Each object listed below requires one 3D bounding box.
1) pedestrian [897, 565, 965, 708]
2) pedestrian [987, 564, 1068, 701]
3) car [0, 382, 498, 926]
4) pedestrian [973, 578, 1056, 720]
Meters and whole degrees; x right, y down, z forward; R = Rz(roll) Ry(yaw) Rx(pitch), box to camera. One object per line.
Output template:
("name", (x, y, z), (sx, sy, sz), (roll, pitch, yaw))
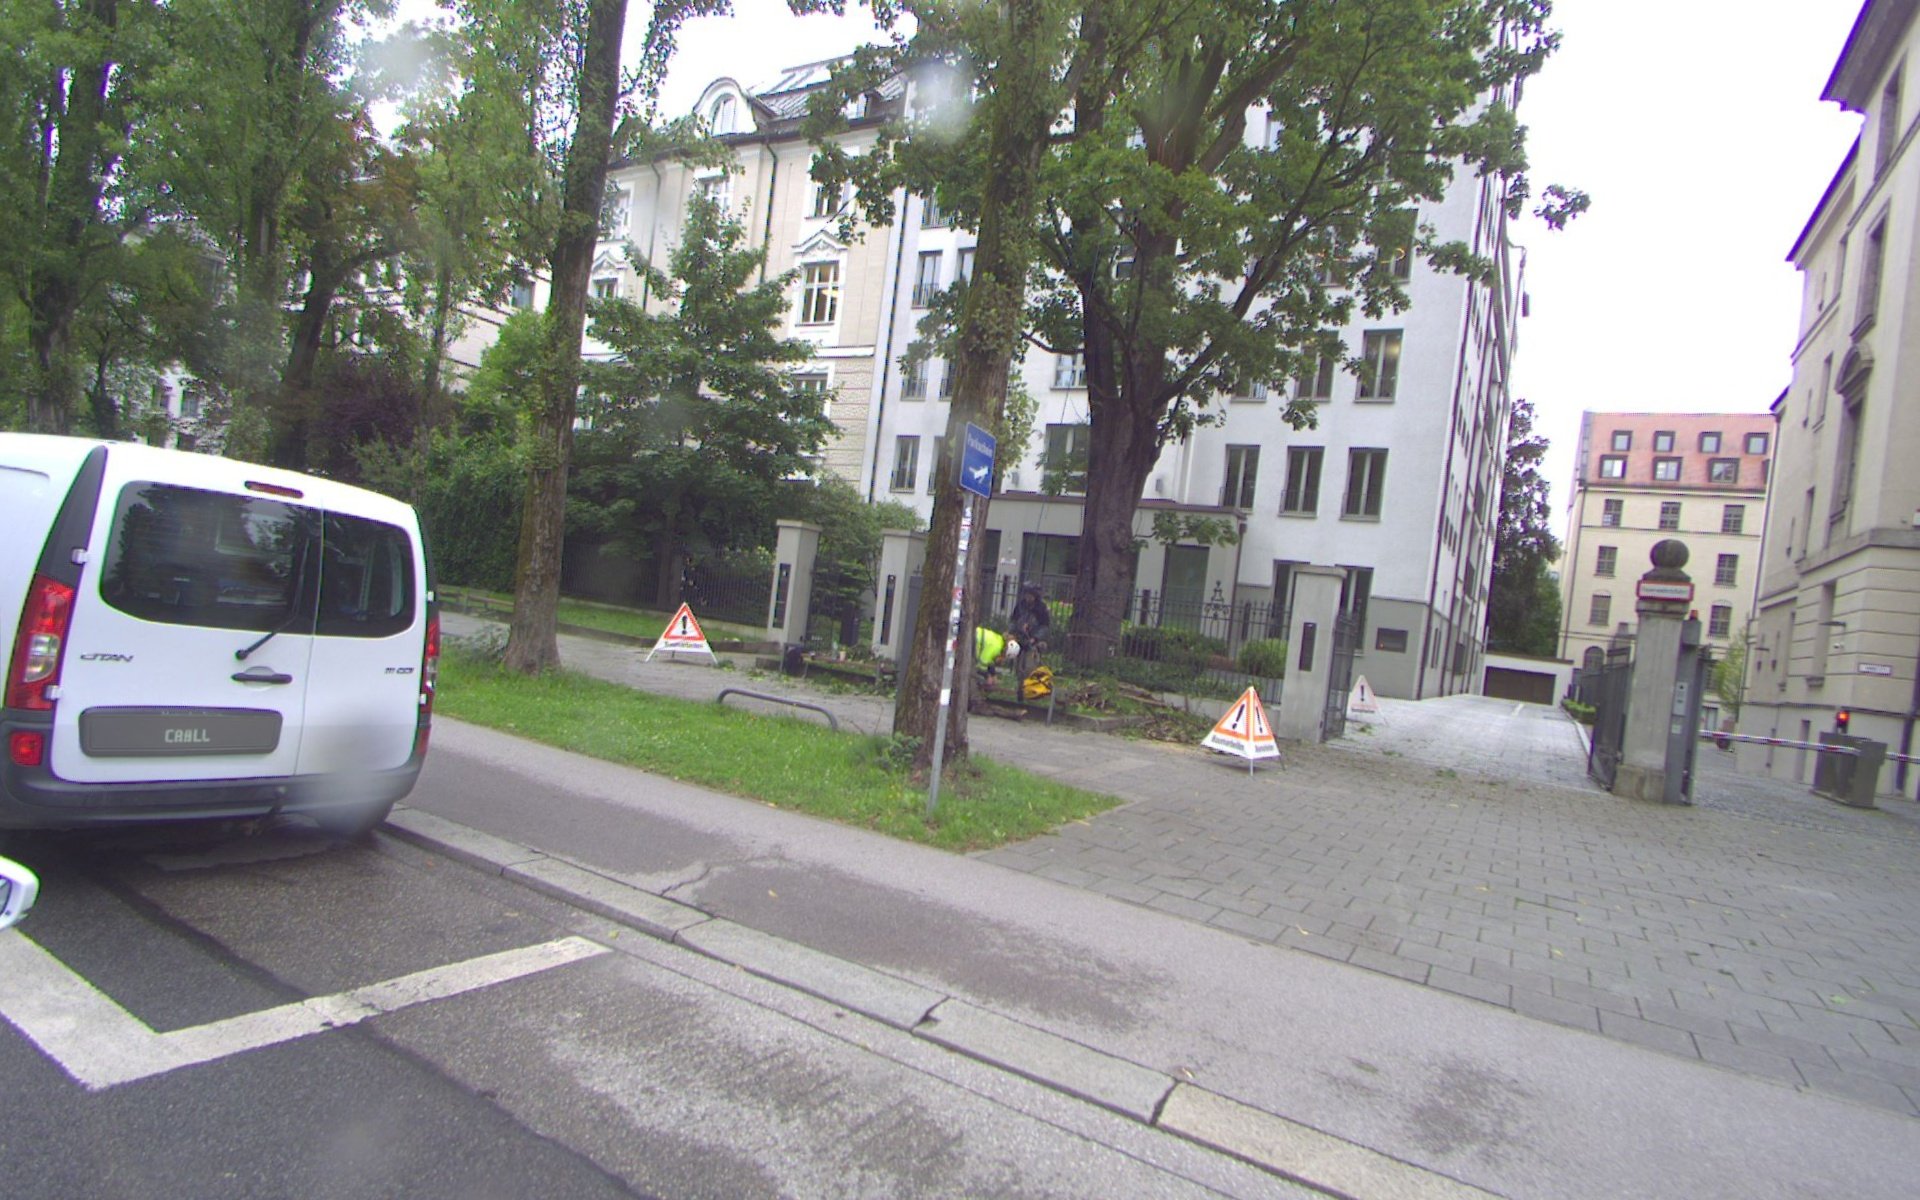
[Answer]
("pedestrian", (-0.398, 0.506, 13.948), (0.626, 1.886, 0.488), (7, 1, 13))
("pedestrian", (1.000, 0.467, 14.671), (0.814, 1.823, 0.904), (9, 2, 10))
("car", (-4.638, 0.045, 5.283), (4.097, 1.904, 1.854), (7, 0, 30))
("pedestrian", (0.763, 0.664, 13.785), (0.805, 1.804, 0.802), (7, 1, 13))
